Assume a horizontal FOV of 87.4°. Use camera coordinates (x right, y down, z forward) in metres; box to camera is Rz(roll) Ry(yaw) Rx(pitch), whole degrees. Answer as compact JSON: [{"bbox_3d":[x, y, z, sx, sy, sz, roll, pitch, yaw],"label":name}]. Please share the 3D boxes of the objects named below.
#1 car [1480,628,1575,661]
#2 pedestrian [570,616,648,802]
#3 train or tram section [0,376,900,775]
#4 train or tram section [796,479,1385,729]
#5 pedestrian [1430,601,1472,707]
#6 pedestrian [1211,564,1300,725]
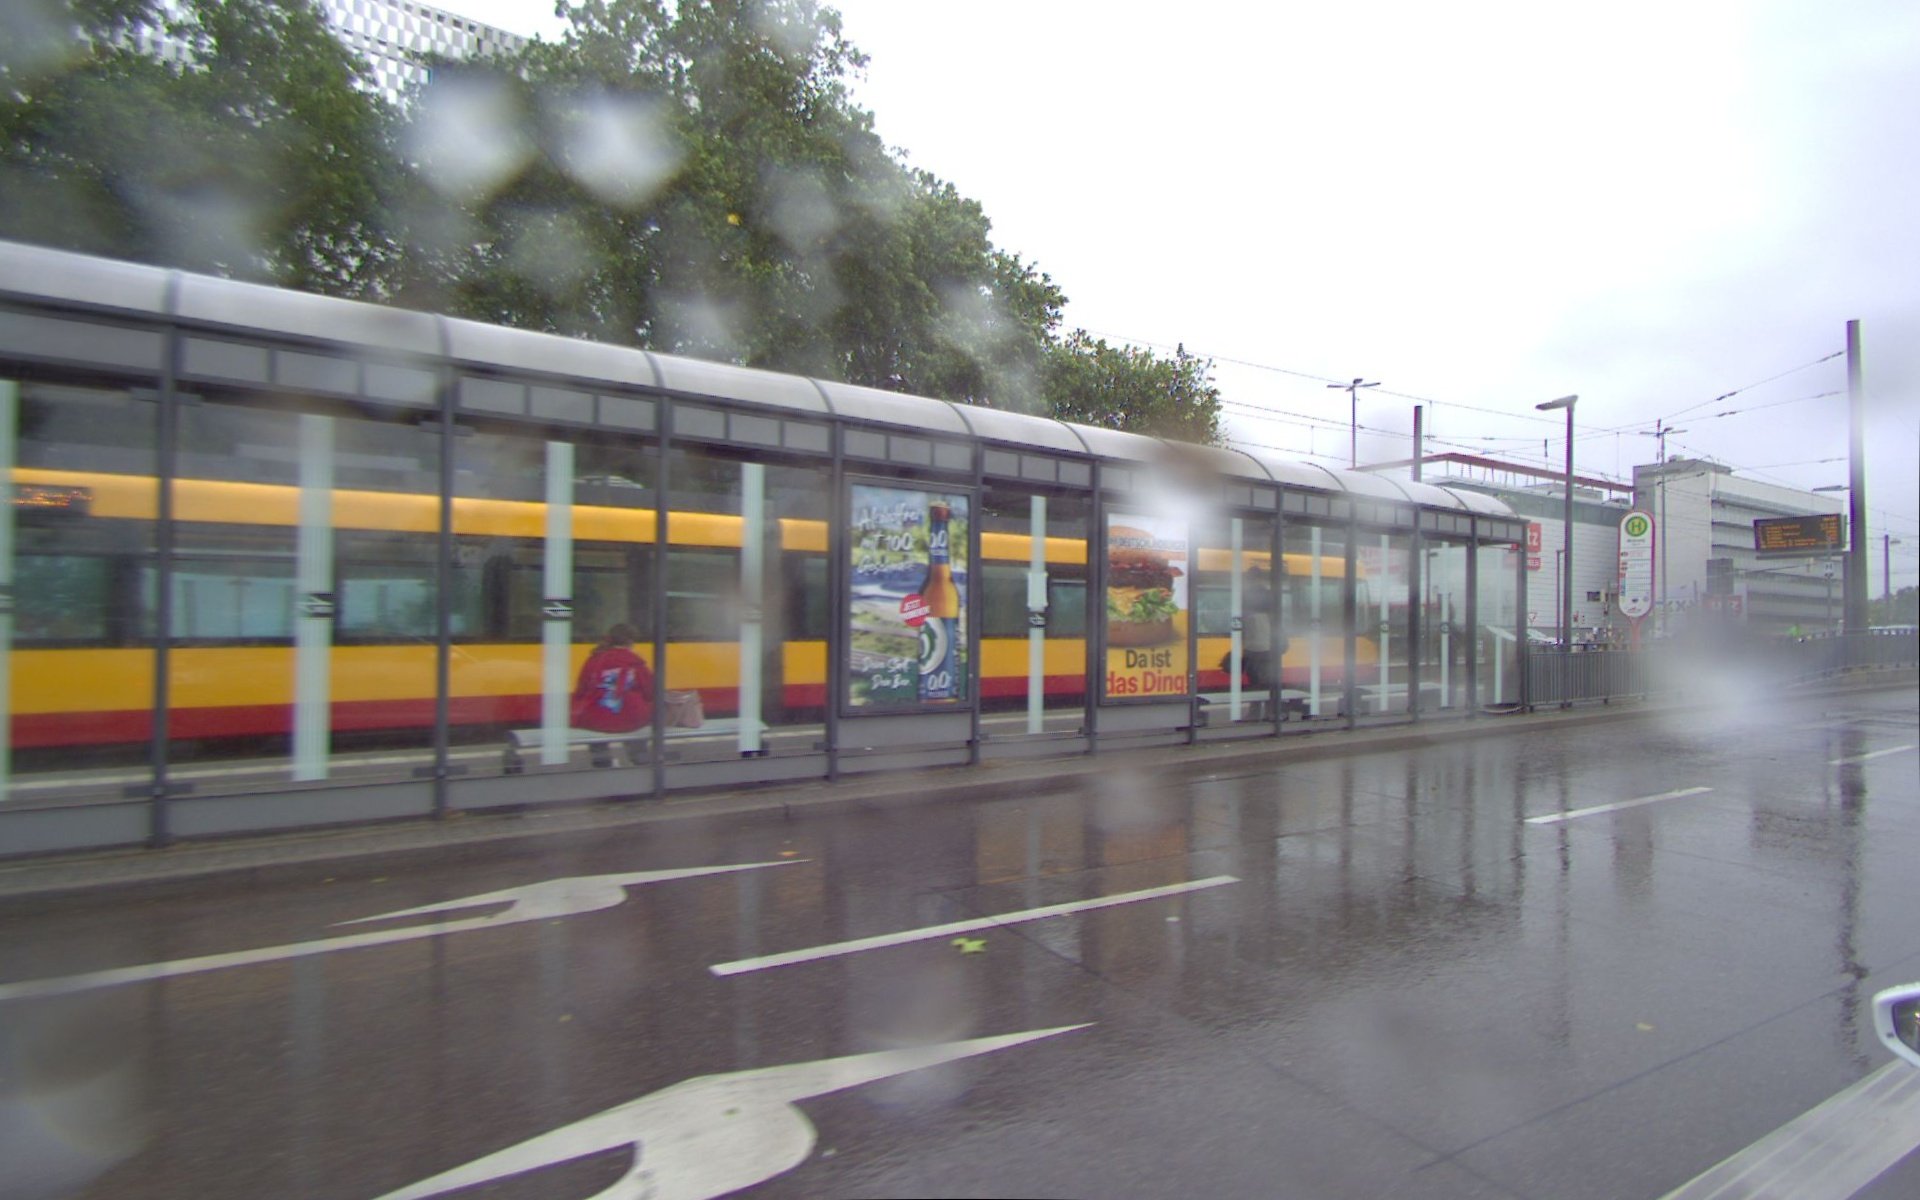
[{"bbox_3d":[33.365,2.599,59.181,1.933,1.684,4.422,3,0,-33],"label":"car"},{"bbox_3d":[-2.478,0.750,7.103,0.459,1.252,0.457,2,-1,-20],"label":"pedestrian"},{"bbox_3d":[-8.315,-0.187,12.667,15.417,3.849,3.716,2,0,-35],"label":"train or tram section"},{"bbox_3d":[3.382,0.215,20.971,13.124,3.890,3.716,2,0,-35],"label":"train or tram section"},{"bbox_3d":[7.131,0.780,14.590,0.410,1.513,0.319,2,0,-29],"label":"pedestrian"},{"bbox_3d":[3.587,0.536,12.235,0.760,1.896,0.654,2,0,-18],"label":"pedestrian"}]
